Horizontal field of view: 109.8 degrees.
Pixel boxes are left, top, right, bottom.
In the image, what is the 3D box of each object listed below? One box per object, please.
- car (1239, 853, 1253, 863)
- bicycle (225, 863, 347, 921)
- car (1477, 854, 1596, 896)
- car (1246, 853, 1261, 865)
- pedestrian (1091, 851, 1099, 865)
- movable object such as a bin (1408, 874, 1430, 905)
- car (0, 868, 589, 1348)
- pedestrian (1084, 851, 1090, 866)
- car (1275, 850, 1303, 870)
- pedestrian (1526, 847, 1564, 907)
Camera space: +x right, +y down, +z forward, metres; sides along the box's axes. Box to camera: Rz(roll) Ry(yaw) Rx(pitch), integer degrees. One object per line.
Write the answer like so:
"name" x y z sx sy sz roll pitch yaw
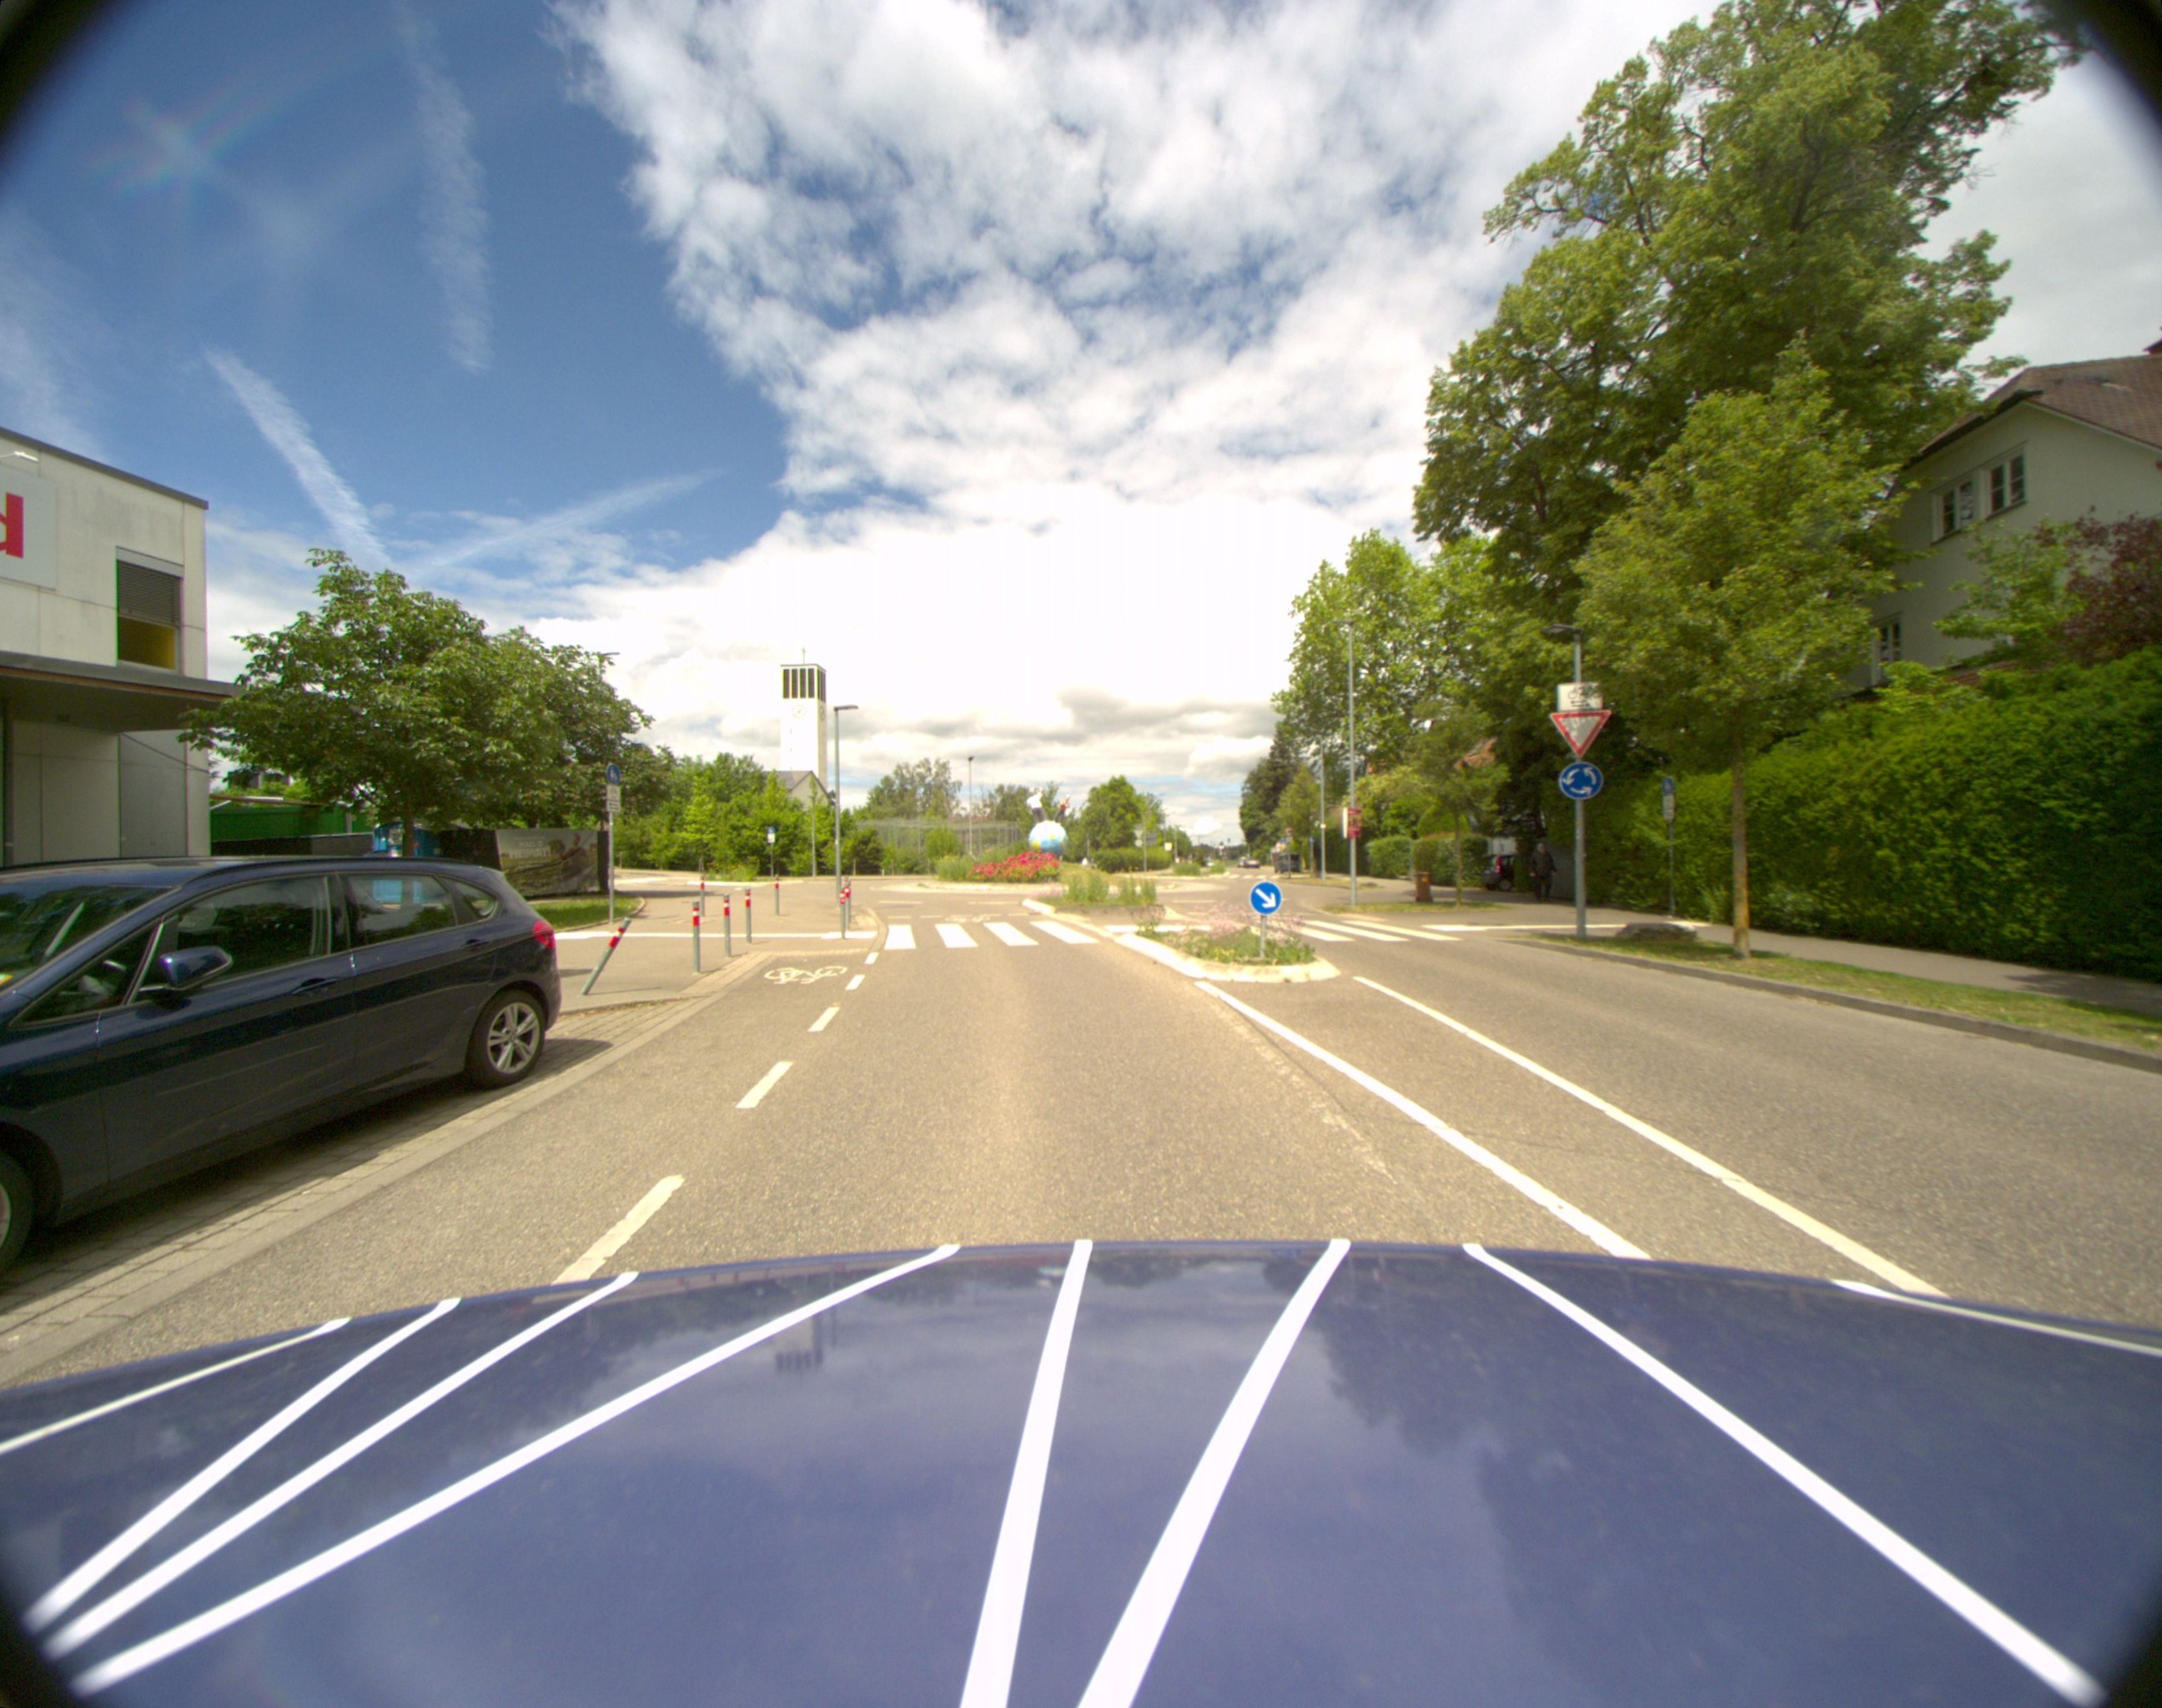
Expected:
"car" 28.969 0.612 133.517 1.998 1.696 4.001 0 0 5
"bicycle" -18.452 0.855 17.686 1.775 1.227 0.713 -2 1 -24
"car" 17.622 0.774 29.538 3.573 1.390 1.666 2 2 10
"car" 23.304 0.634 102.777 1.861 1.568 4.003 -1 1 10
"pedestrian" 1.522 0.420 84.746 0.765 1.548 0.601 0 1 -11
"movable object such as a bin" 10.296 1.071 23.124 0.442 0.929 0.411 0 1 -18
"car" -4.759 0.928 3.671 1.921 1.569 4.429 1 1 -1
"pedestrian" 0.694 0.501 84.476 0.608 1.687 0.566 -1 1 -8
"car" 17.524 0.493 64.188 1.679 1.652 4.001 0 1 6
"pedestrian" 13.448 0.653 22.046 0.745 1.681 0.695 -1 1 11
